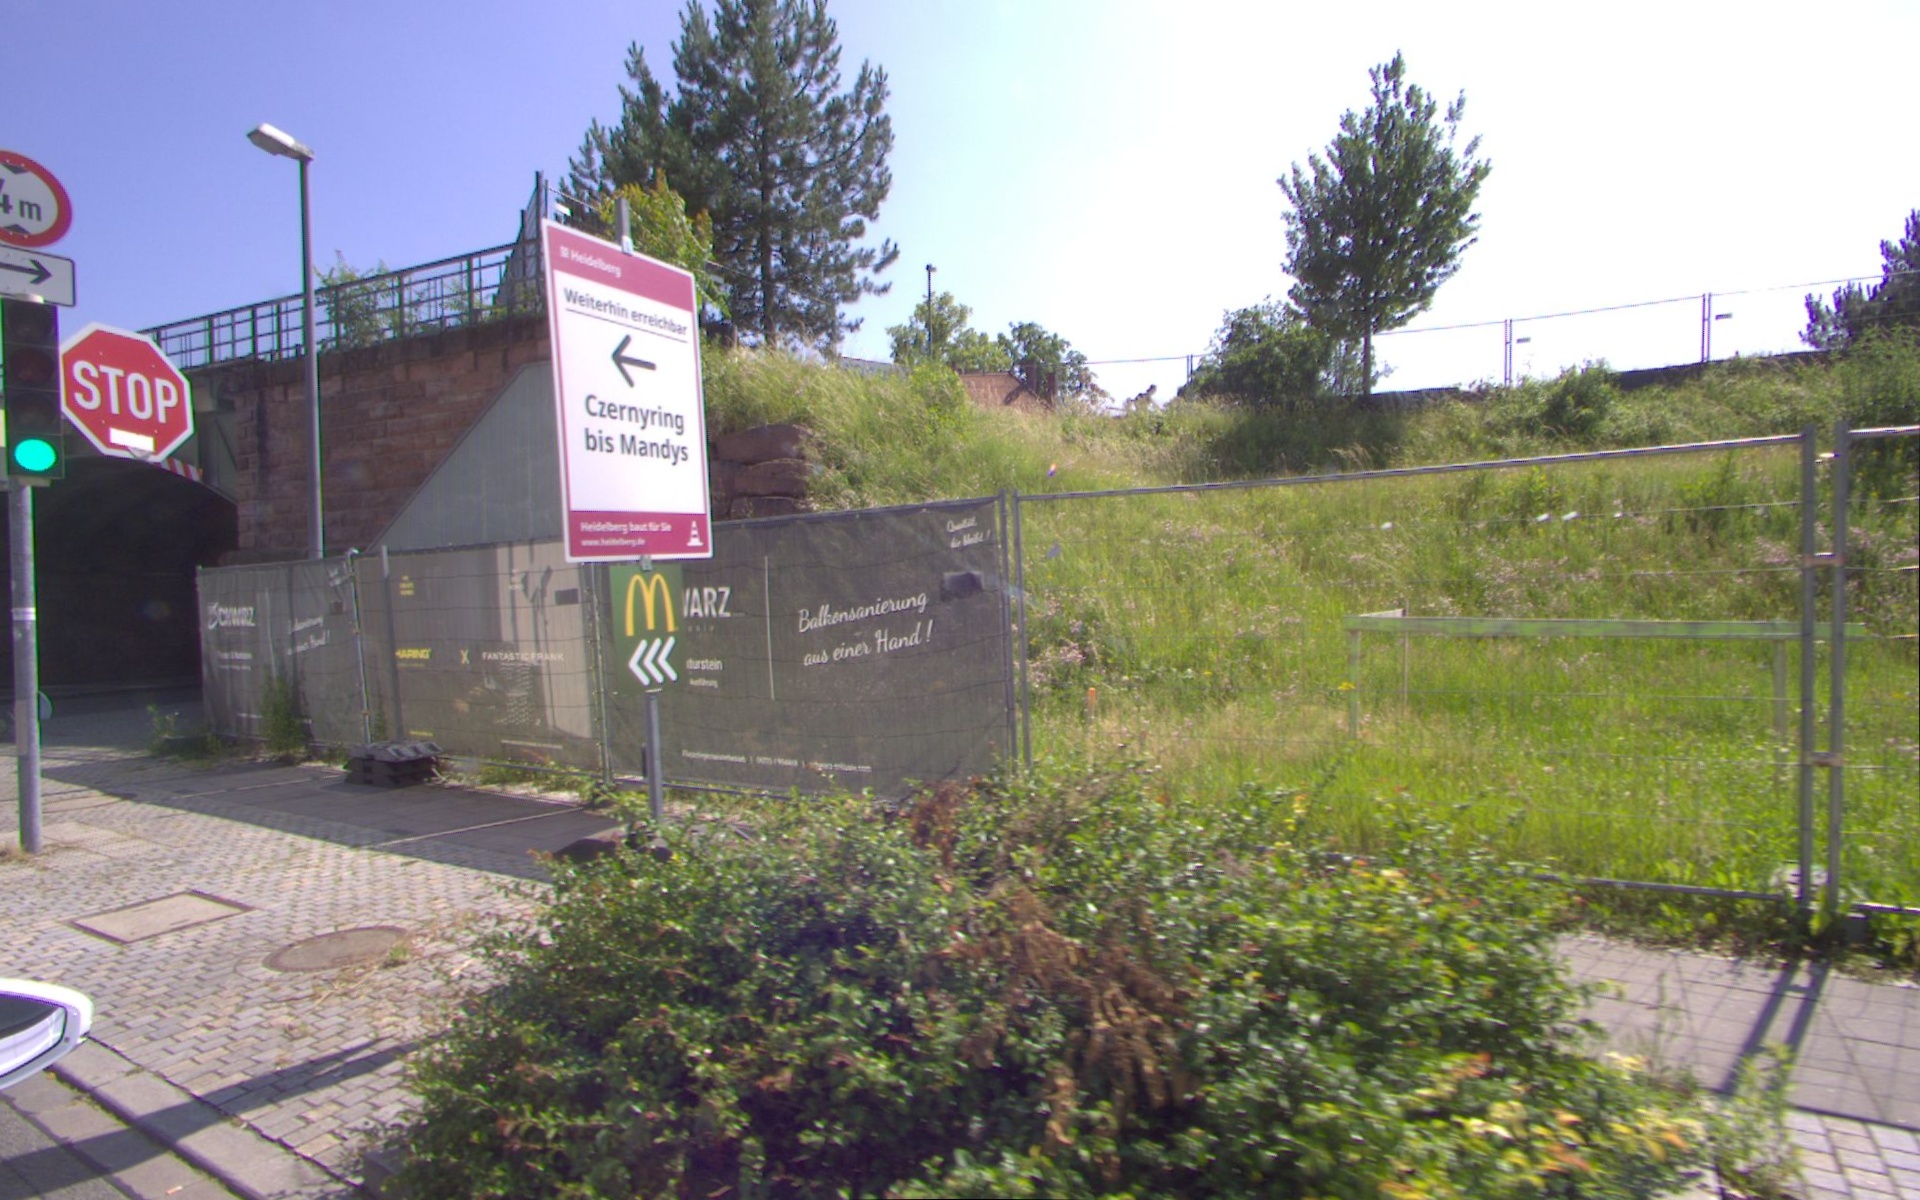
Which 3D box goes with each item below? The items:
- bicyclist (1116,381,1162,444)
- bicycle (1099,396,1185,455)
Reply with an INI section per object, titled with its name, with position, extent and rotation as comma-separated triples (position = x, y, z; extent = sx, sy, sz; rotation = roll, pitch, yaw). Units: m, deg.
[bicyclist]
position = 4.899, -5.111, 27.398
extent = 1.045, 1.406, 0.951
rotation = -1, -2, 23
[bicycle]
position = 4.970, -4.743, 27.340
extent = 2.138, 1.228, 0.935
rotation = -1, -2, 23
